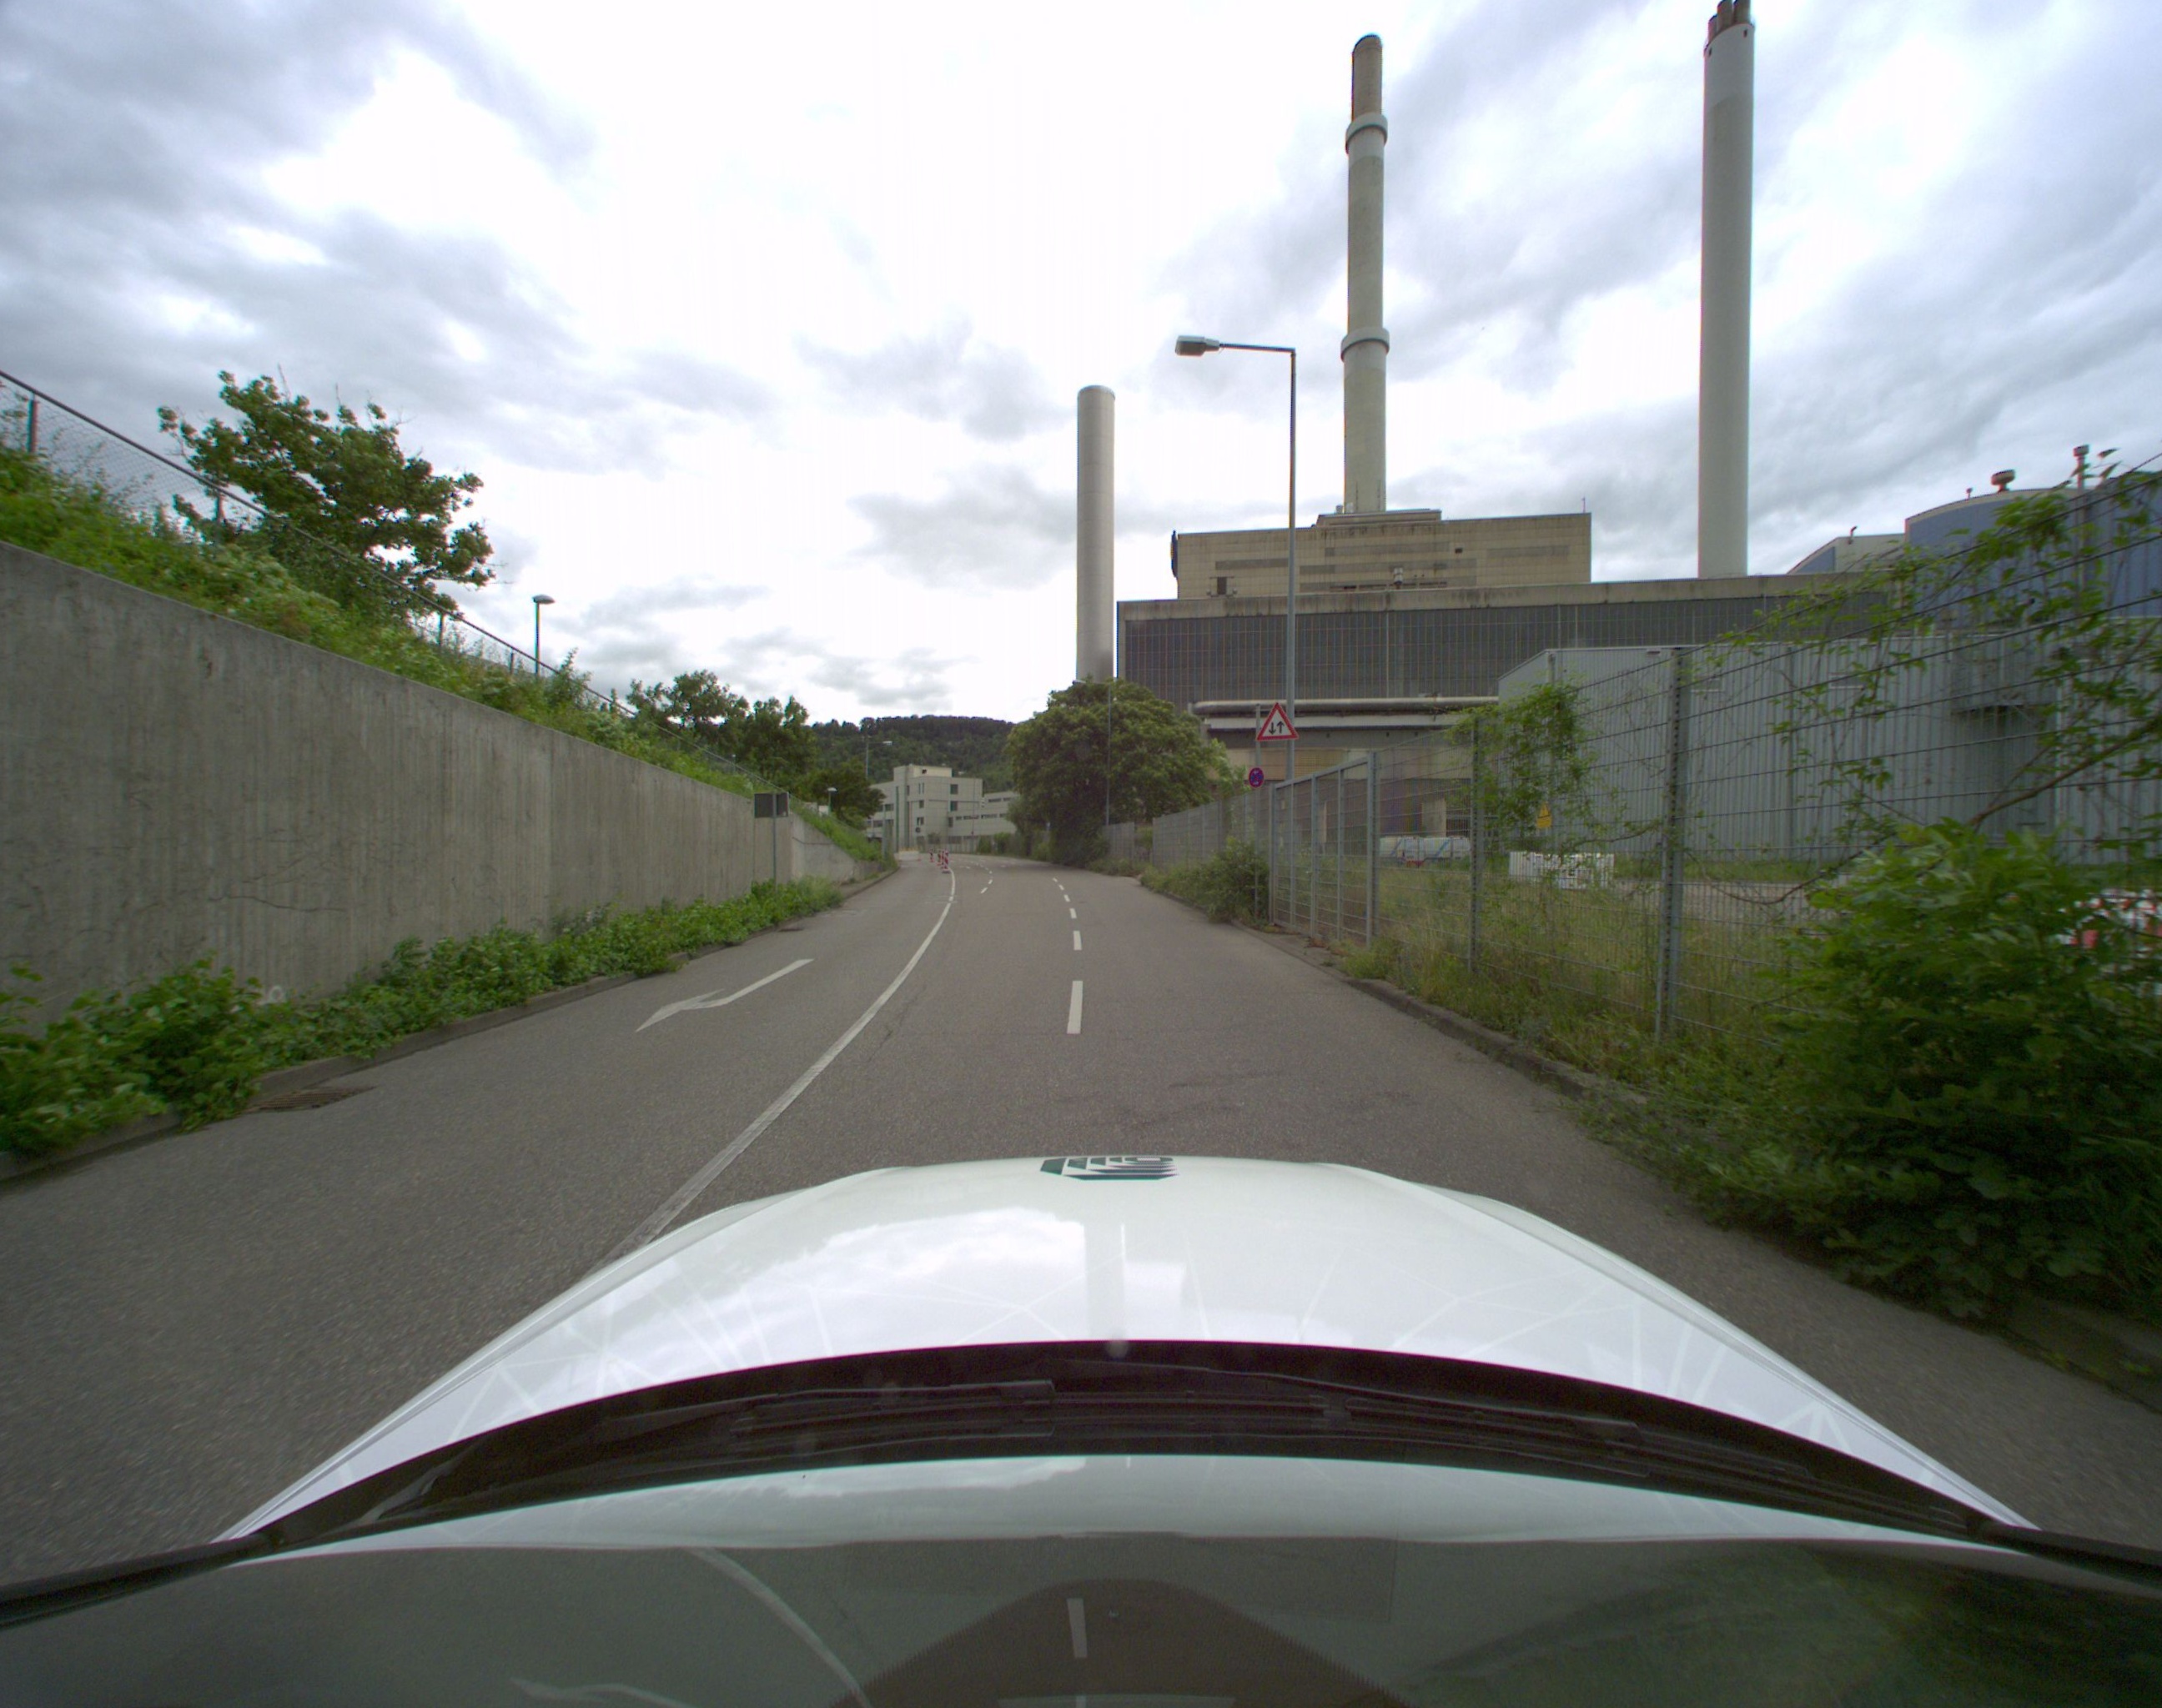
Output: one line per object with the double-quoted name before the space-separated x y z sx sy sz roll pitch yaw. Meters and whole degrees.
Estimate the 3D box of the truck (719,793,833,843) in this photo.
"truck" -23.760 -2.713 63.676 7.902 3.538 3.018 0 -1 -37

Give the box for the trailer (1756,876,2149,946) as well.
"trailer" 14.661 0.895 14.256 2.285 0.815 4.701 0 1 8

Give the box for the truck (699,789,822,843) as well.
"truck" -23.133 -2.617 58.949 7.897 3.538 3.020 0 -1 -34

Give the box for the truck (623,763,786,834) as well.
"truck" -21.903 -3.080 47.693 8.194 3.538 3.017 0 -2 -39

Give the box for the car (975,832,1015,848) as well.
"car" -12.810 -2.119 121.177 6.091 2.262 2.013 2 1 35

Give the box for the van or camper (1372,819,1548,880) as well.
"van or camper" 29.978 -0.307 64.791 11.812 4.531 5.465 0 -1 -11
